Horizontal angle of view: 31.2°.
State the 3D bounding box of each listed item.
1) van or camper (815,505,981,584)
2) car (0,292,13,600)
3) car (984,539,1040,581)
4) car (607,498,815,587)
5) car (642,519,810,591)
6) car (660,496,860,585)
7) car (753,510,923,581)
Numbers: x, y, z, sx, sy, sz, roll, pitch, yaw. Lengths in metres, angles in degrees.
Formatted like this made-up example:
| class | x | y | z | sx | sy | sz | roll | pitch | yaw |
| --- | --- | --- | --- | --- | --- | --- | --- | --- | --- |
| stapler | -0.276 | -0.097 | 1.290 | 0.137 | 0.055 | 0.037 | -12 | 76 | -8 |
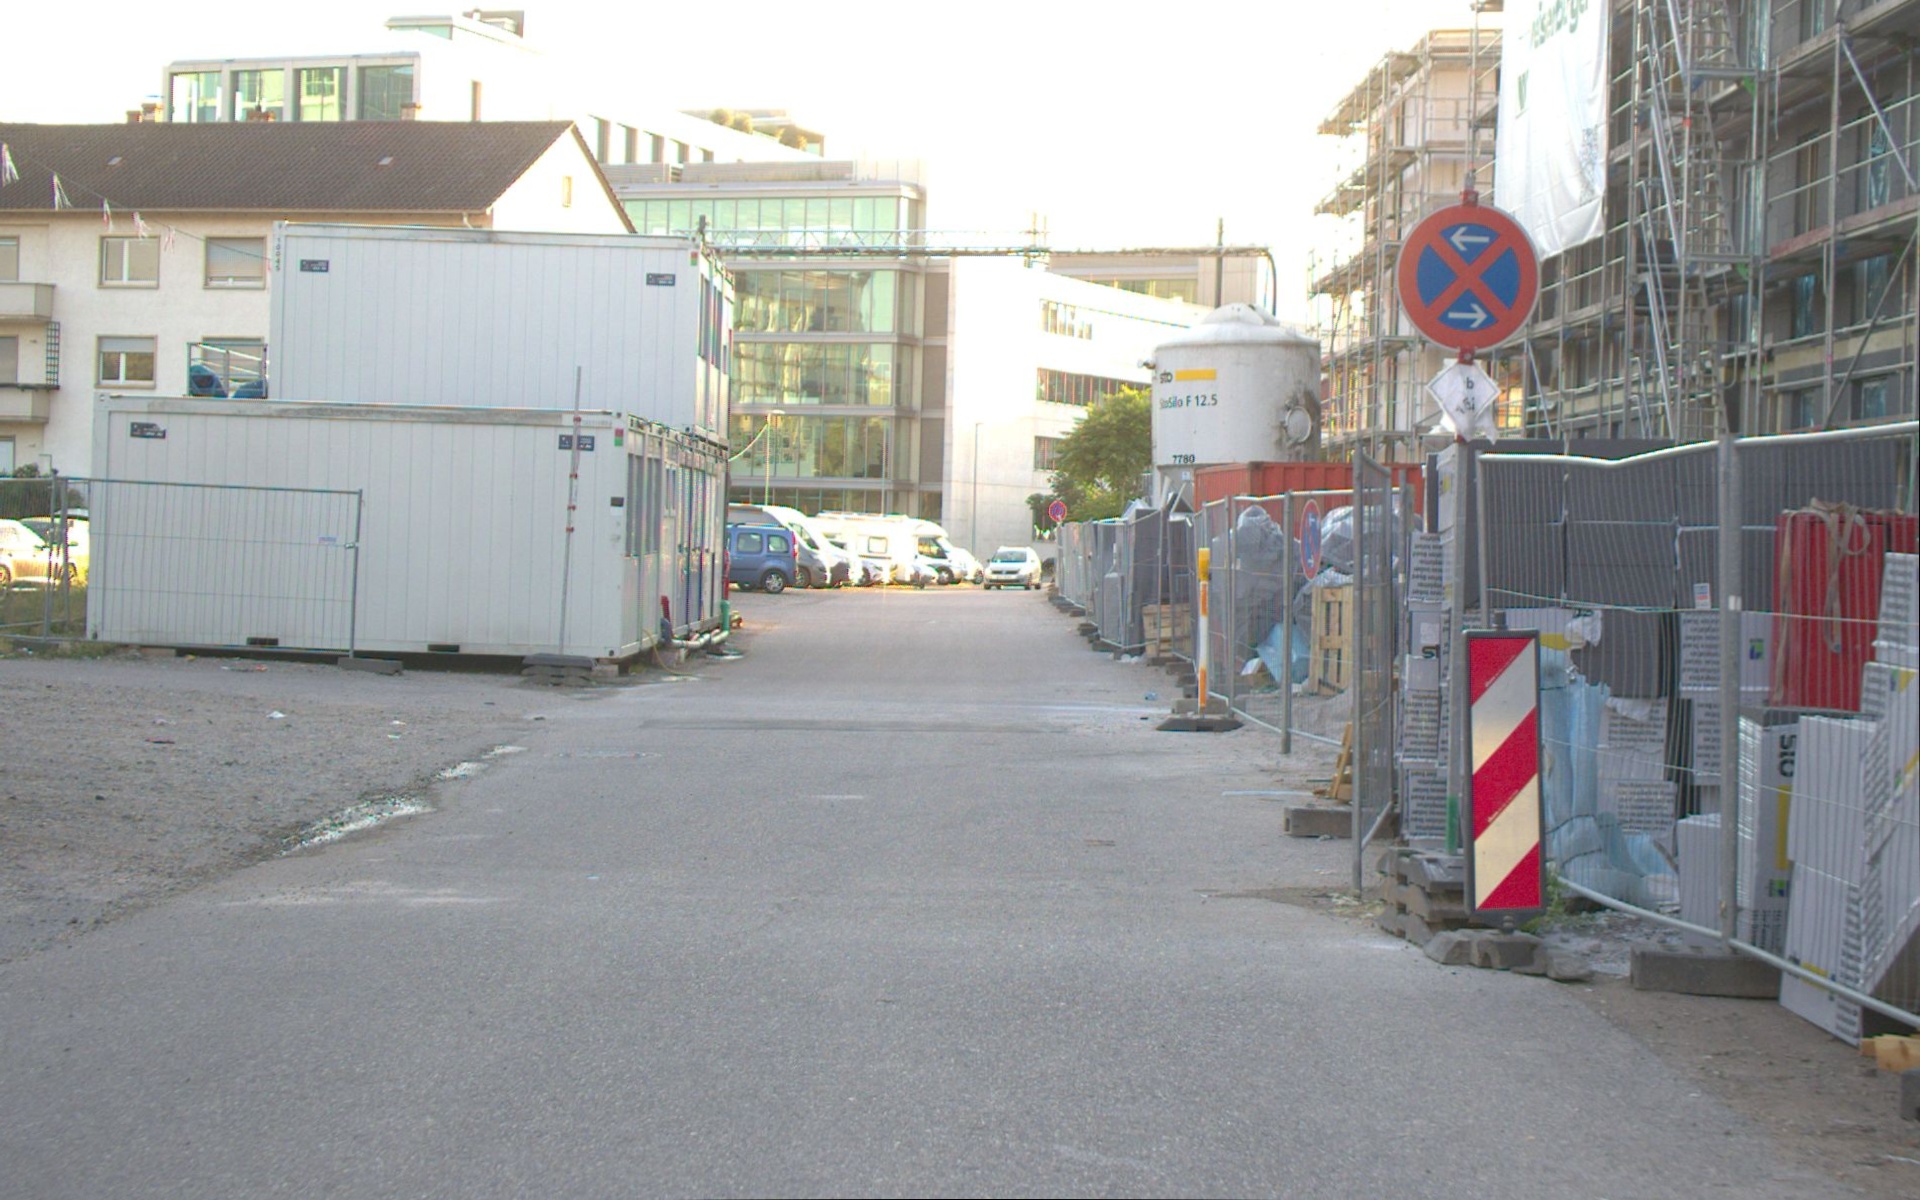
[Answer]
| class | x | y | z | sx | sy | sz | roll | pitch | yaw |
| --- | --- | --- | --- | --- | --- | --- | --- | --- | --- |
| van or camper | -2.547 | -2.267 | 140.845 | 6.336 | 2.968 | 2.291 | 2 | 0 | 13 |
| car | -7.736 | -0.359 | 16.426 | 5.689 | 2.617 | 2.222 | 3 | 1 | 2 |
| car | 1.978 | -1.516 | 130.440 | 1.665 | 1.523 | 3.909 | 1 | 1 | 7 |
| car | -7.806 | -1.806 | 108.089 | 6.328 | 2.642 | 2.000 | 1 | 1 | 1 |
| car | -6.422 | -1.227 | 94.097 | 4.503 | 1.862 | 2.000 | 1 | 1 | -5 |
| car | -6.480 | -1.926 | 111.841 | 6.328 | 2.731 | 2.000 | 1 | 1 | 1 |
| car | -4.507 | -2.030 | 127.087 | 5.926 | 2.481 | 1.999 | 1 | 1 | 12 |
